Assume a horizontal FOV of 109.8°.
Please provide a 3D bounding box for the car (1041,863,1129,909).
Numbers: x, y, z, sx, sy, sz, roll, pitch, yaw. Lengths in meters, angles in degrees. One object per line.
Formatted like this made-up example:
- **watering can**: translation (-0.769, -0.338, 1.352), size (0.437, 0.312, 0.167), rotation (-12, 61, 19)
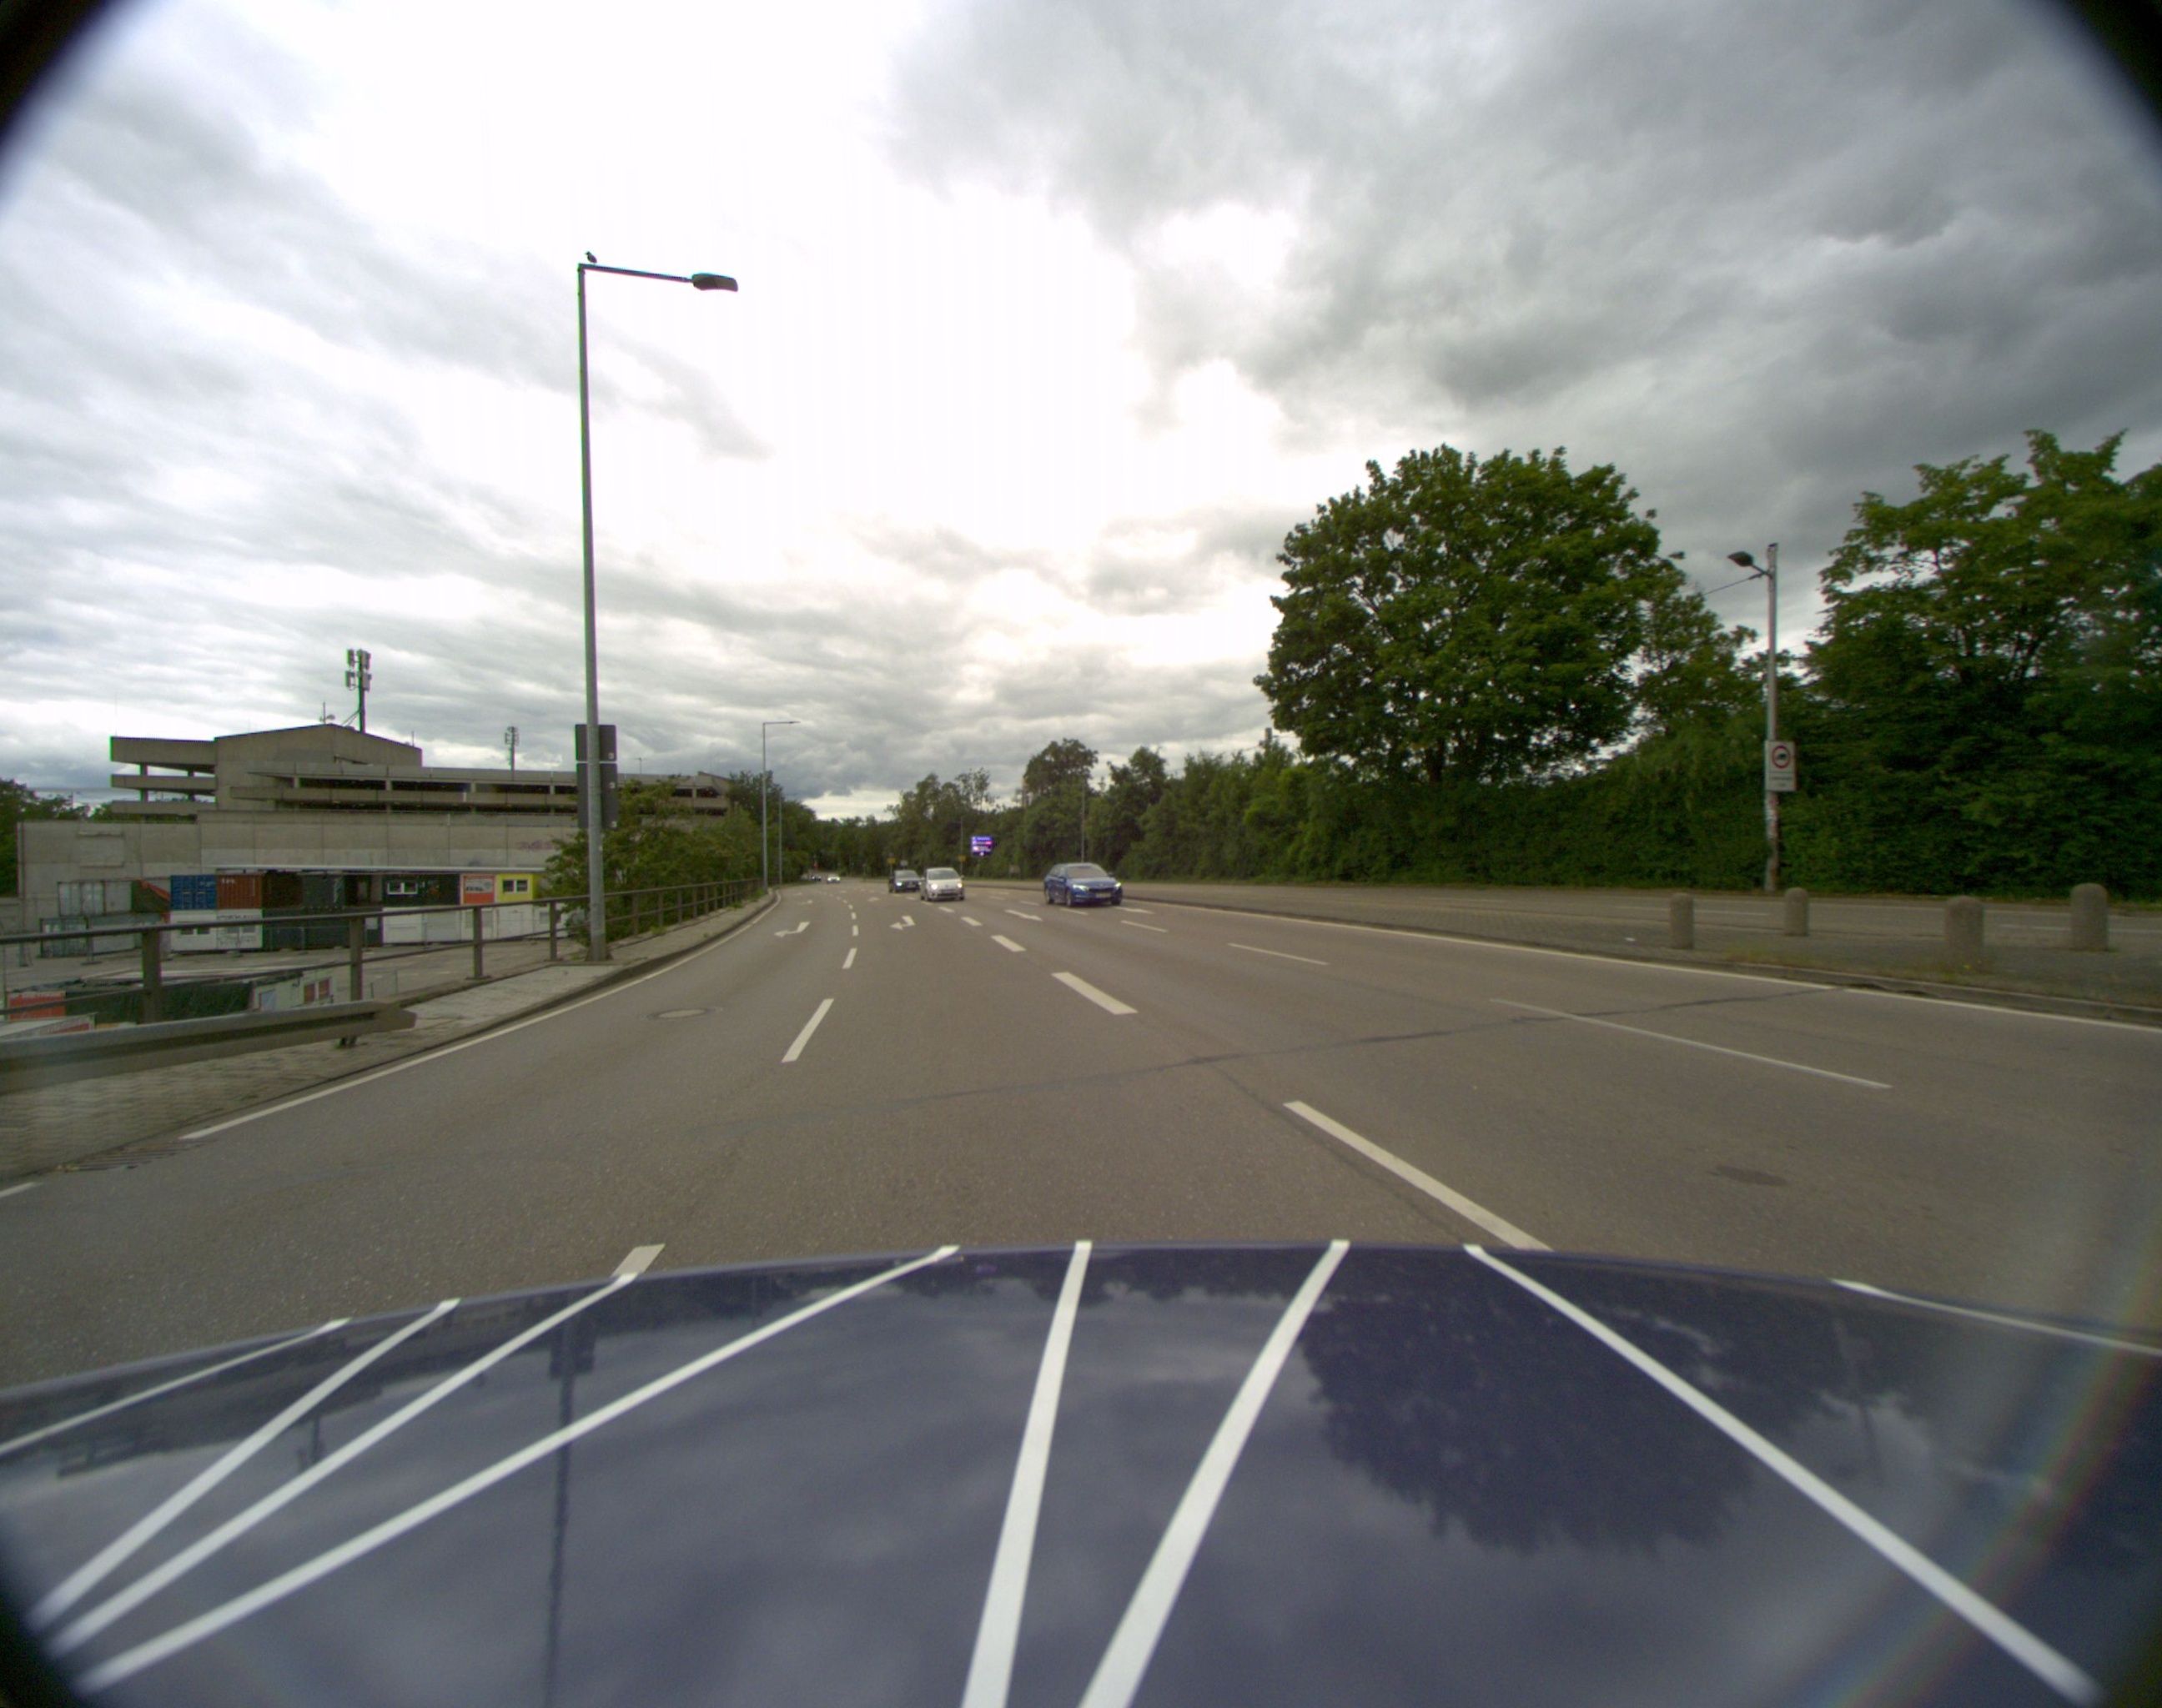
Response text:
- **car**: translation (0.042, 1.056, 26.623), size (1.845, 1.408, 4.574), rotation (-2, 0, -16)

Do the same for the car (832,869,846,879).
- **car**: translation (-37.587, 3.087, 117.895), size (1.868, 1.408, 4.331), rotation (-2, 0, -21)

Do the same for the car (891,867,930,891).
- **car**: translation (-11.045, 1.580, 49.068), size (1.867, 1.408, 4.331), rotation (-2, 0, -20)

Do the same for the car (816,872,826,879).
- **car**: translation (-55.969, 4.597, 163.377), size (1.868, 1.408, 4.331), rotation (-2, 0, -21)

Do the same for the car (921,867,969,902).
- **car**: translation (-6.147, 1.317, 34.107), size (1.611, 1.408, 3.586), rotation (-2, 0, -18)
